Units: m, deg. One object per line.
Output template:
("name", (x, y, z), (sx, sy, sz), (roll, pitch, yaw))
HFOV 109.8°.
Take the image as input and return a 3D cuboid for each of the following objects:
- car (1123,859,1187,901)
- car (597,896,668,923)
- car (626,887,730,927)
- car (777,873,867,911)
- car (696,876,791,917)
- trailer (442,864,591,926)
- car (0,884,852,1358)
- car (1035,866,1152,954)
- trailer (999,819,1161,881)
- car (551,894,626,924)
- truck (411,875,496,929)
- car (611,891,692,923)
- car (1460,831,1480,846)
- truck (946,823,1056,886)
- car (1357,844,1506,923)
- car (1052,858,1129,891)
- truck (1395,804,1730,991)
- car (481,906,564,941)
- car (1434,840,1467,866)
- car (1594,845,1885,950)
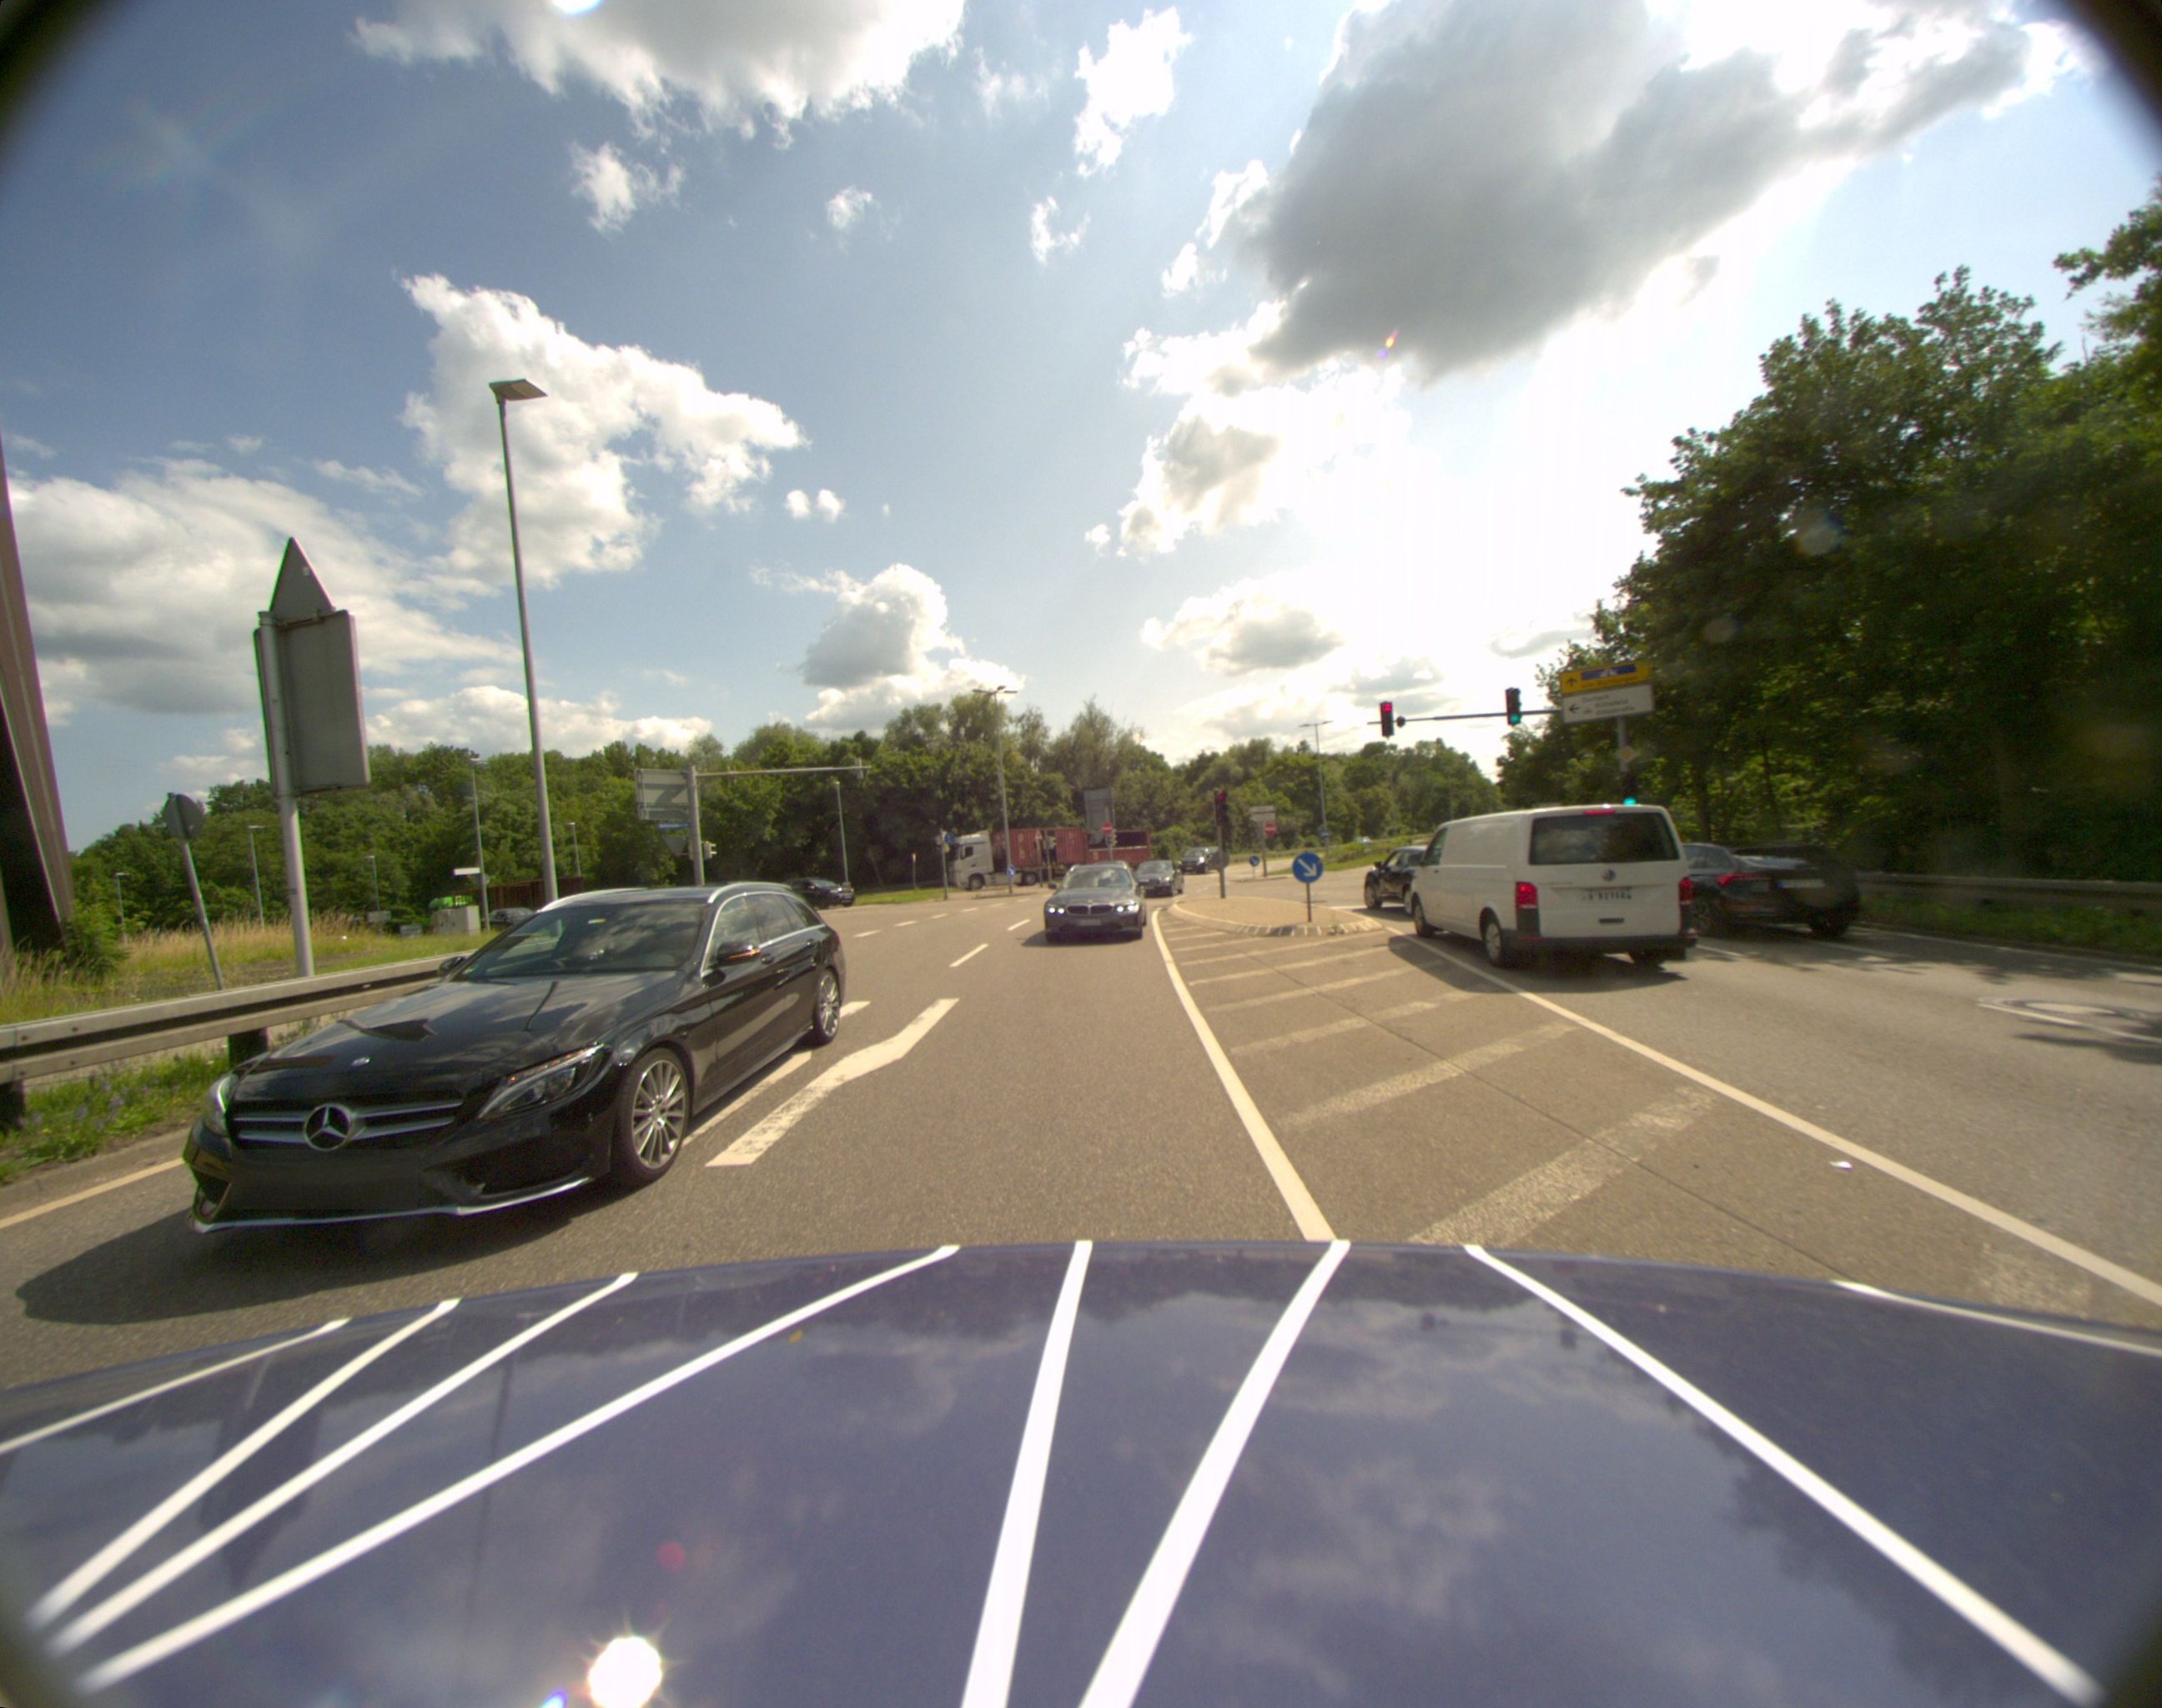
("car", (3.033, 1.005, 30.518), (1.856, 1.402, 4.004), (-3, 0, 15))
("car", (-27.246, 3.390, 46.149), (4.040, 1.367, 1.884), (-5, -1, 30))
("car", (-16.696, 2.182, 31.417), (4.206, 1.367, 1.762), (-5, -1, 30))
("car", (-13.129, 1.931, 38.472), (4.285, 1.607, 1.848), (-5, 1, 30))
("car", (-15.726, 1.992, 35.406), (4.206, 1.636, 1.841), (-5, -1, 30))
("trailer", (-45.390, 3.345, 60.898), (13.818, 3.868, 2.651), (-5, 0, 23))
("car", (-3.074, 1.060, 4.959), (1.795, 1.427, 4.369), (-3, 1, -1))
("car", (0.394, 1.024, 15.383), (1.857, 1.355, 4.001), (-2, 1, 8))
("trailer", (0.174, -0.368, 55.897), (12.340, 3.827, 2.774), (-4, 0, -35))
("car", (-27.283, 3.058, 42.094), (4.206, 1.367, 1.704), (-5, -1, 30))
("truck", (-52.724, 4.032, 63.852), (5.865, 3.880, 2.882), (-6, 0, 24))
("car", (-22.144, 2.758, 39.170), (4.206, 1.367, 1.649), (-5, -1, 30))
("car", (42.196, -1.677, 82.391), (1.734, 1.512, 4.075), (-1, 1, 31))
("truck", (-5.488, 0.032, 52.215), (6.825, 3.822, 2.774), (-4, 0, -21))
("car", (7.880, 0.603, 17.489), (1.702, 1.548, 3.822), (-3, 0, 2))
("car", (0.530, 0.999, 38.675), (1.855, 1.403, 4.007), (-3, 0, 37))
("truck", (6.163, 0.458, 10.702), (1.964, 1.902, 5.373), (-3, 0, 9))
("car", (-28.633, 3.559, 38.942), (3.991, 1.455, 1.870), (-5, 0, 29))
("car", (22.942, -0.084, 47.322), (1.683, 1.469, 4.720), (-1, 1, 24))
("car", (10.354, 0.583, 12.451), (1.638, 1.401, 4.342), (-2, 0, 11))
